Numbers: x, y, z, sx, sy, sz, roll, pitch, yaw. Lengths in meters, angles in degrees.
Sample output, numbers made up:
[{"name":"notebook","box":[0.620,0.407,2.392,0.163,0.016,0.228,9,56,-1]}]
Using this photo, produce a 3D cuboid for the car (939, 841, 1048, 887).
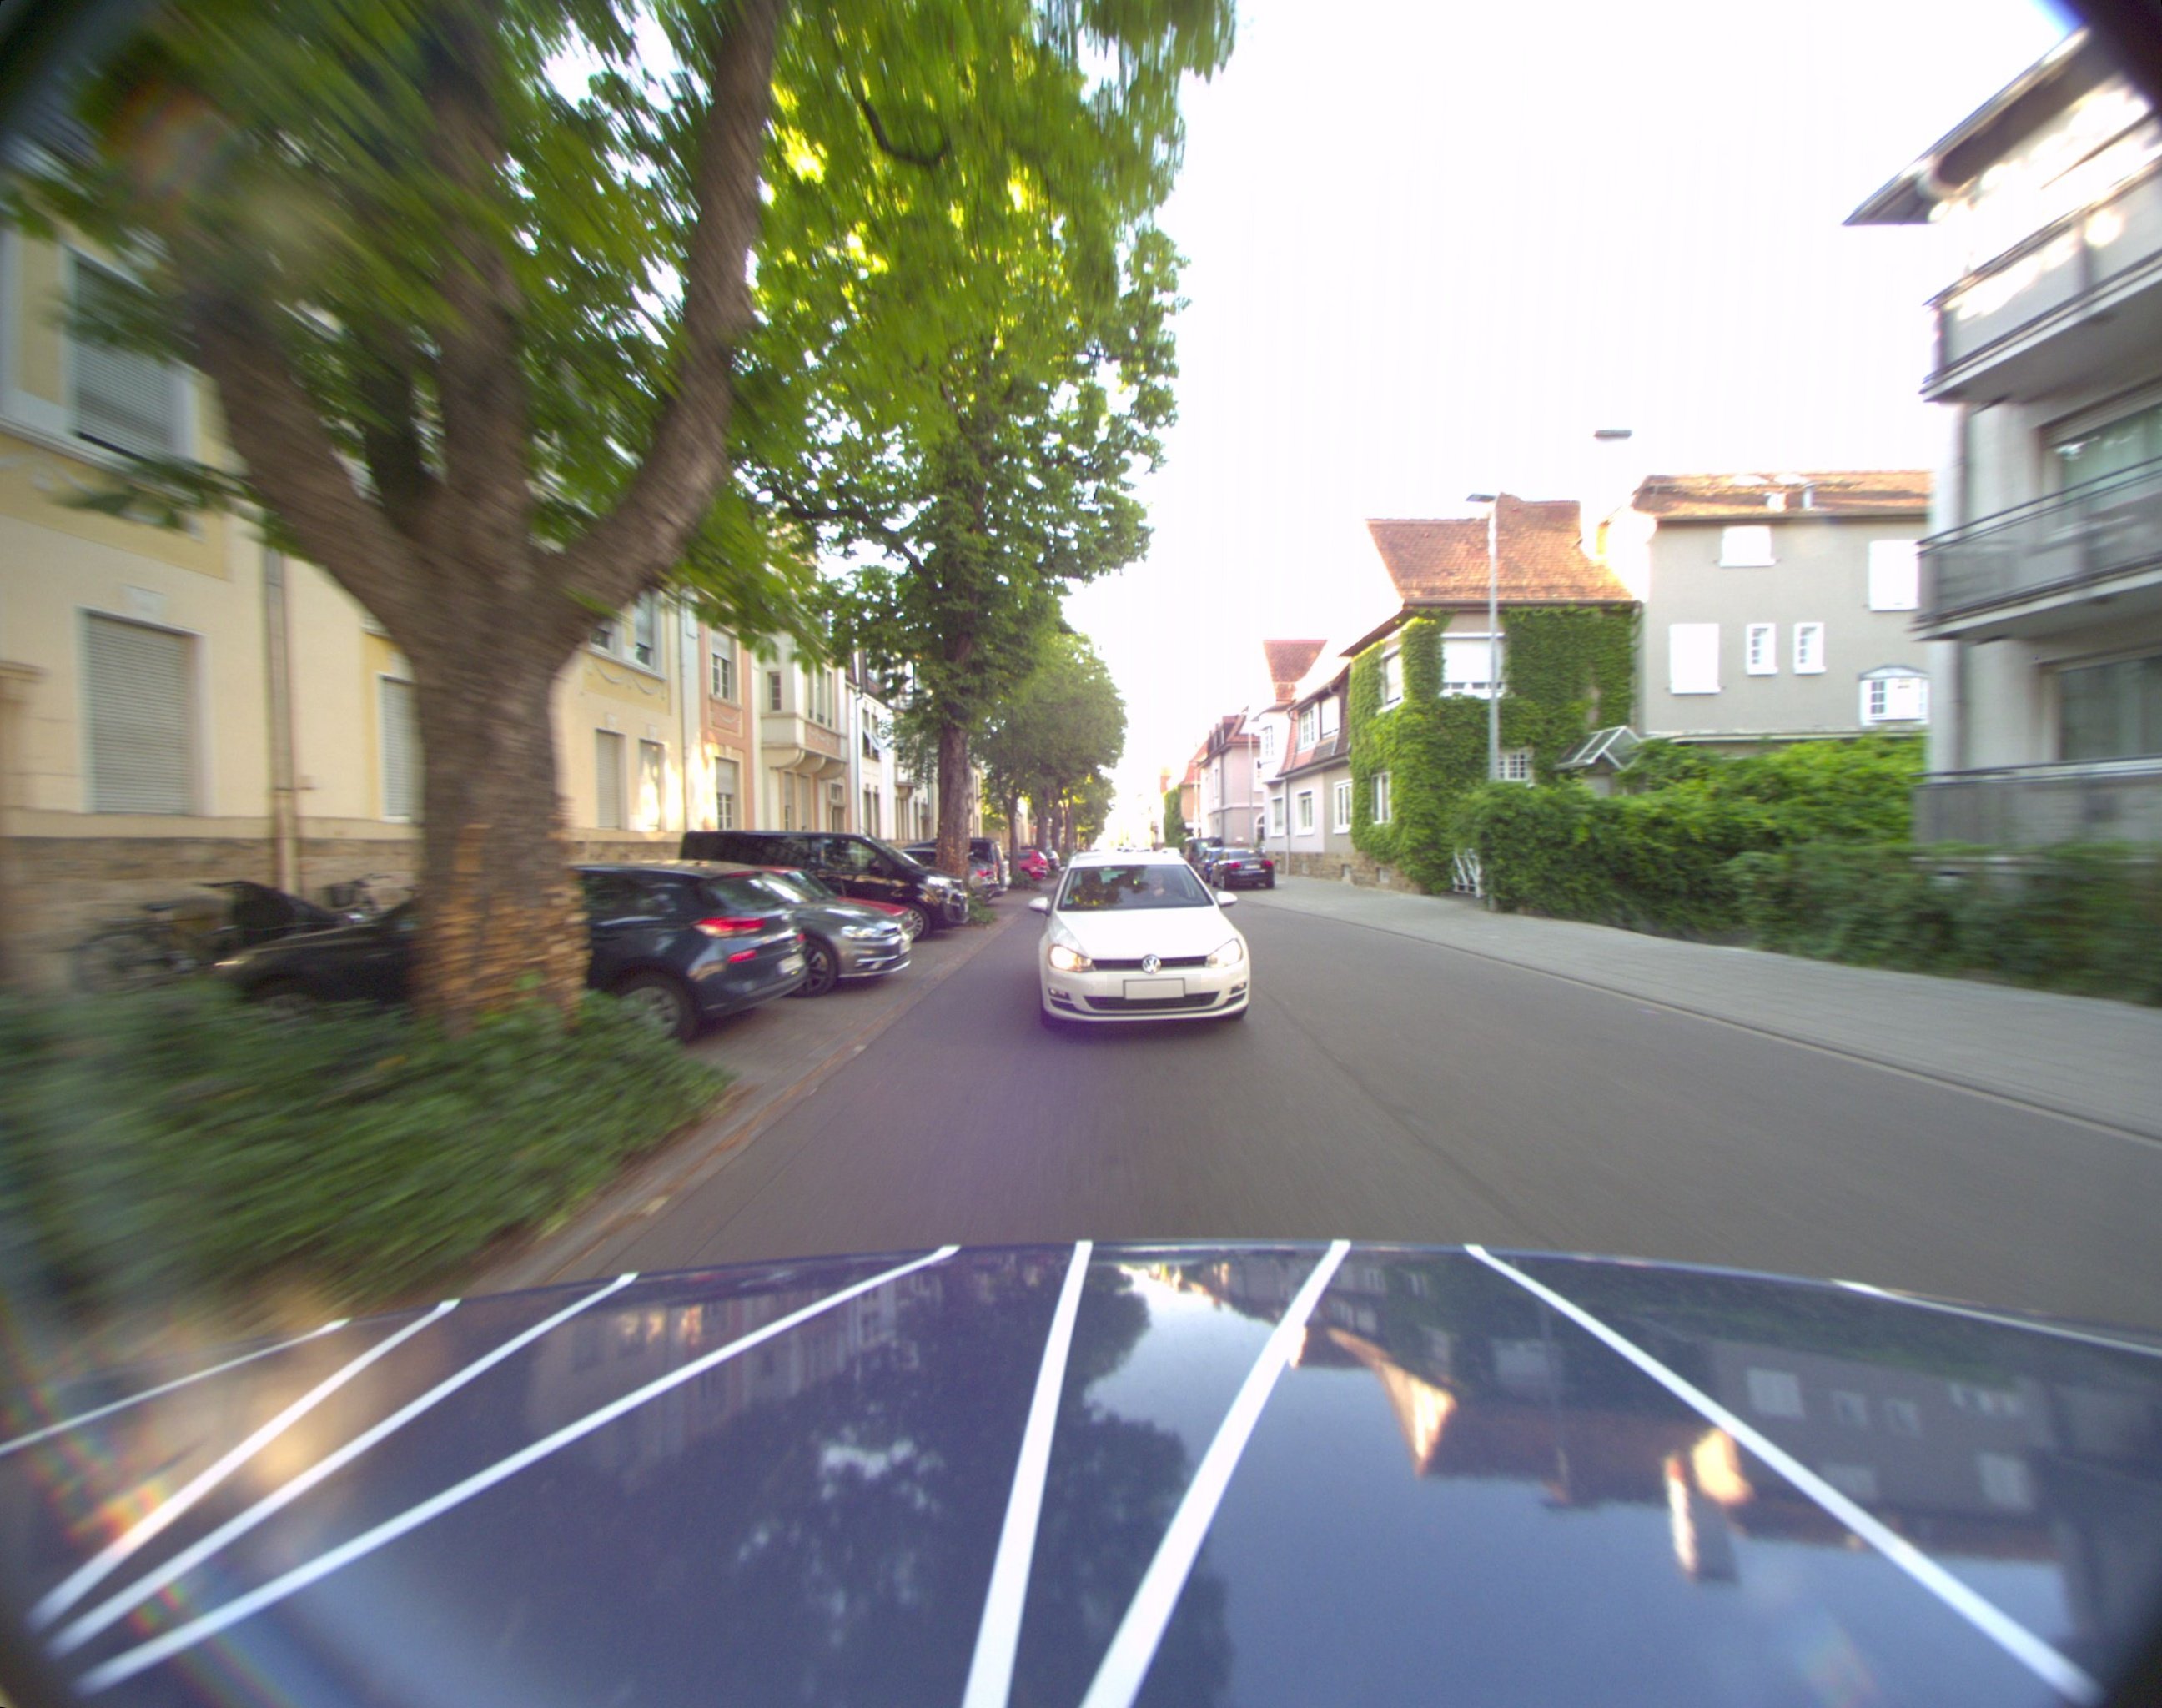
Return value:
[{"name":"car","box":[-3.967,0.430,34.934,4.709,1.863,1.999,-2,1,-1]}]

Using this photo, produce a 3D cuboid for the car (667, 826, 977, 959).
[{"name":"car","box":[-4.368,0.608,13.438,4.709,2.002,1.999,-2,1,-1]}]

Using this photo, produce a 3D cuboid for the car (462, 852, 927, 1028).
[{"name":"car","box":[-4.098,0.869,8.690,4.208,1.598,1.999,-2,1,-1]}]

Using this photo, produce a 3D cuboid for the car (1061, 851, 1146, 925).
[{"name":"car","box":[0.527,0.743,18.793,1.843,1.509,4.022,-2,1,1]}]

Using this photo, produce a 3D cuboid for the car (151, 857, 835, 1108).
[{"name":"car","box":[-4.558,0.937,6.492,4.208,1.619,1.973,-2,1,-1]}]

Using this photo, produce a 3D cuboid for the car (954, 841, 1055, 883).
[{"name":"car","box":[-3.727,0.379,37.582,4.709,1.863,1.999,-2,1,-1]}]

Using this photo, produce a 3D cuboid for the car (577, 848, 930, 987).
[{"name":"car","box":[-4.546,0.832,11.105,4.208,1.678,1.999,-2,1,-1]}]

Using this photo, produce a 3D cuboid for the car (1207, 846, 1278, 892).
[{"name":"car","box":[5.656,0.475,27.053,1.692,1.445,4.000,-3,1,1]}]

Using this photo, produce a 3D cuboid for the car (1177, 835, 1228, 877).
[{"name":"car","box":[5.993,0.065,37.899,1.821,1.895,4.288,-3,1,1]}]

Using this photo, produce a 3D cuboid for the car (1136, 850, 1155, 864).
[{"name":"car","box":[7.525,0.324,88.406,1.821,1.419,4.288,-3,1,1]}]

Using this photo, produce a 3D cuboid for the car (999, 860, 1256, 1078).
[{"name":"car","box":[0.373,0.869,7.654,1.843,1.442,4.110,-2,1,1]}]

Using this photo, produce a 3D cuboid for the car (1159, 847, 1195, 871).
[{"name":"car","box":[6.225,0.306,49.541,1.821,1.419,4.288,-3,1,1]}]

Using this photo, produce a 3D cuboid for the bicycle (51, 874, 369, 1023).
[{"name":"bicycle","box":[-9.107,0.905,8.141,0.761,1.277,2.204,1,1,5]}]

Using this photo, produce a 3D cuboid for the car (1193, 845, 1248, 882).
[{"name":"car","box":[6.032,0.371,33.220,1.692,1.445,4.000,-3,1,1]}]

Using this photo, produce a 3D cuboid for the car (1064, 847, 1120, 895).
[{"name":"car","box":[0.411,0.561,27.957,1.843,1.509,4.753,-2,1,1]}]

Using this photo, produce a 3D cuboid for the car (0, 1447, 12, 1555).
[{"name":"car","box":[-4.693,0.677,0.830,4.431,1.974,1.758,-1,4,1]}]

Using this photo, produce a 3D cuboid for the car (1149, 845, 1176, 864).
[{"name":"car","box":[6.747,0.005,63.479,1.821,1.419,4.288,-3,1,1]}]

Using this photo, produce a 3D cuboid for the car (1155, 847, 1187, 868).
[{"name":"car","box":[6.486,0.228,55.248,1.821,1.419,4.288,-3,1,1]}]

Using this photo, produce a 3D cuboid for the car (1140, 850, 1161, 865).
[{"name":"car","box":[7.414,0.326,81.086,1.821,1.419,4.288,-3,1,1]}]
